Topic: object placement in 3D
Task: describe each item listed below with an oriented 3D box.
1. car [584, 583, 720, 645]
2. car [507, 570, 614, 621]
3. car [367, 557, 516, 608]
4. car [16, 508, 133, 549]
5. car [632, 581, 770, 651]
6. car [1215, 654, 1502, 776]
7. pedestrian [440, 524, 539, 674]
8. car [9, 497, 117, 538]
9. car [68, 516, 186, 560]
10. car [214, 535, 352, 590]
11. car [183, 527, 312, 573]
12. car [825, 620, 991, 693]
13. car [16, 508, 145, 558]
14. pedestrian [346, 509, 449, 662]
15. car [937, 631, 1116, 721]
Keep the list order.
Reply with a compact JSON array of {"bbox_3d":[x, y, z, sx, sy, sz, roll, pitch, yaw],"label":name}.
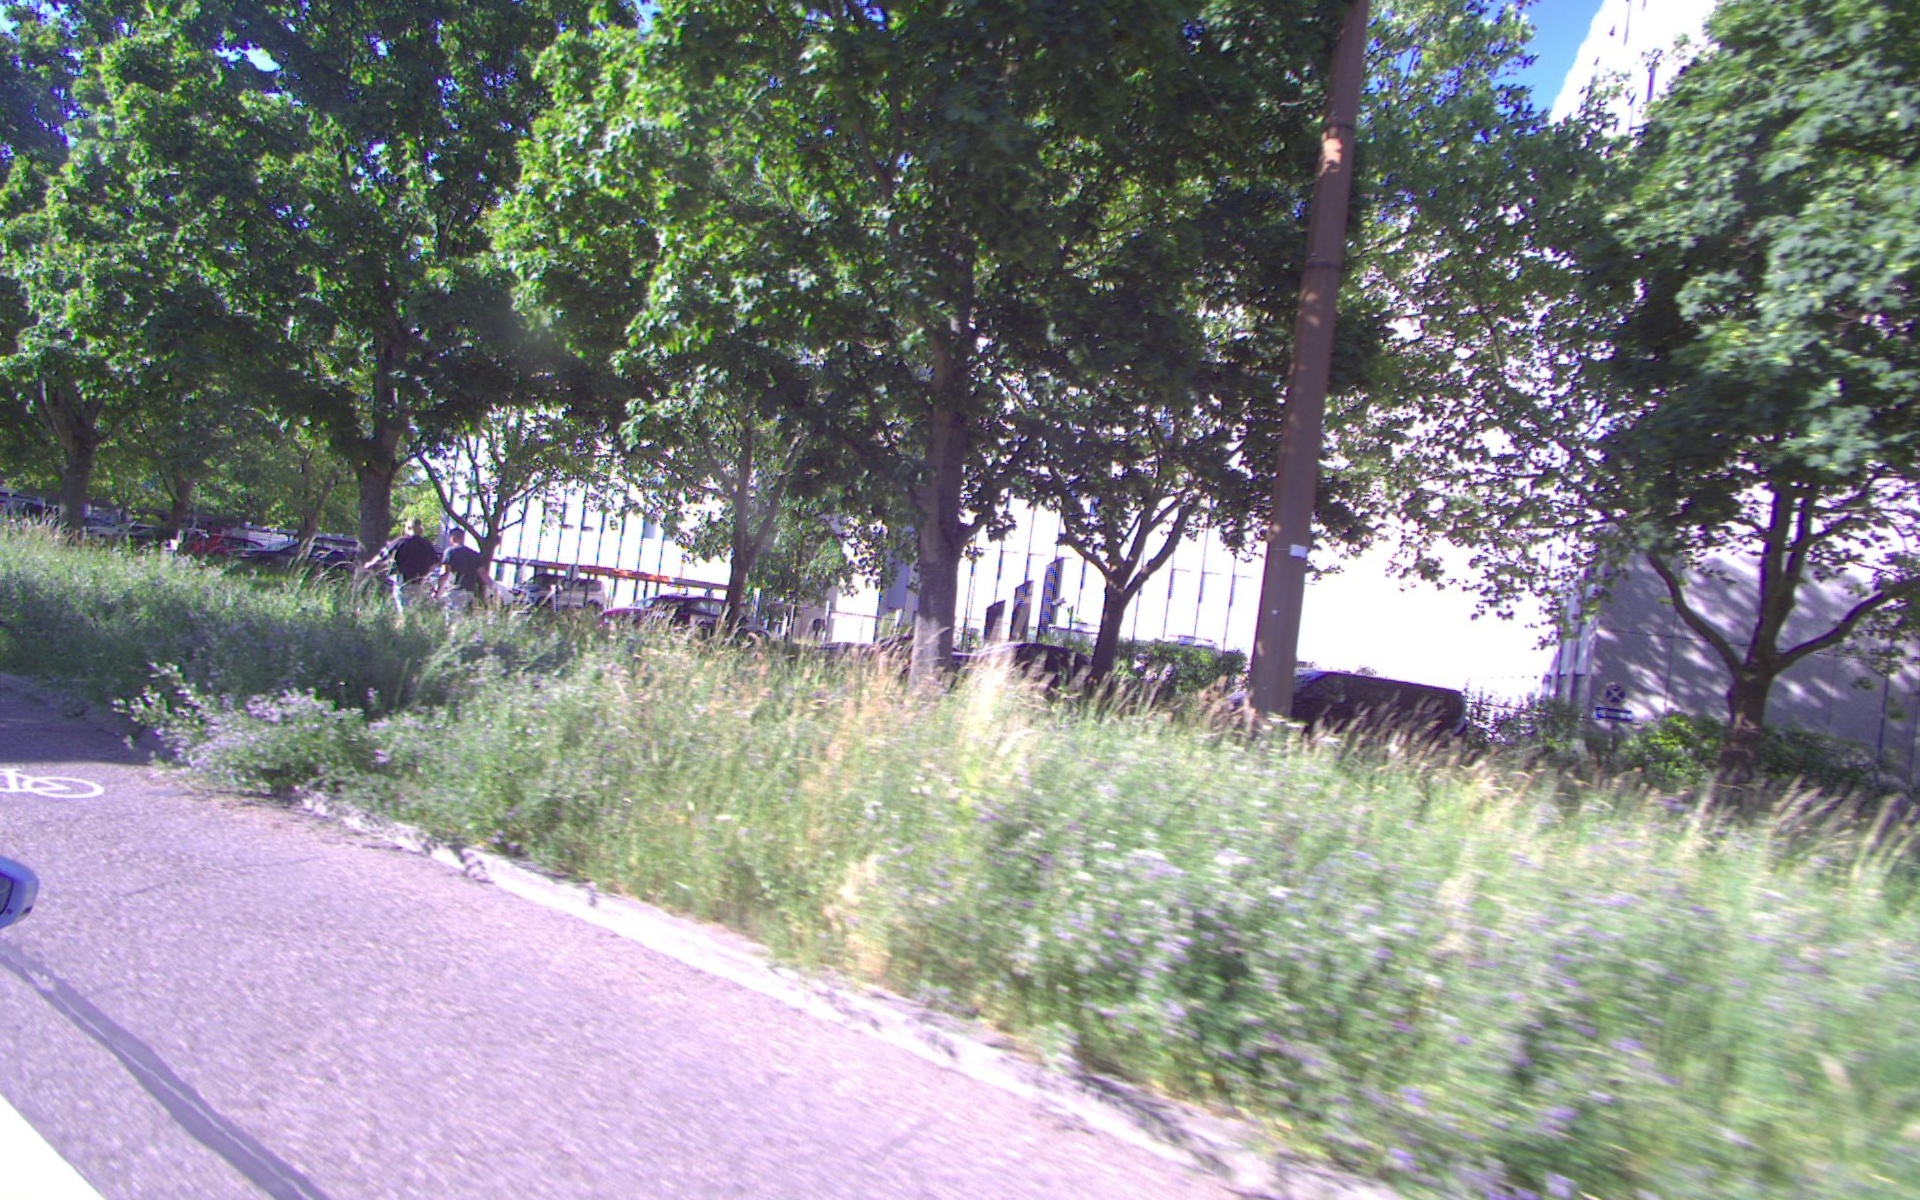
[{"bbox_3d":[-9.614,0.496,31.804,1.733,1.554,4.246,7,-1,21],"label":"car"},{"bbox_3d":[-20.541,-0.207,51.935,1.940,1.973,4.760,7,-1,30],"label":"car"},{"bbox_3d":[-19.314,-0.610,37.680,1.776,1.286,4.709,8,-1,28],"label":"car"},{"bbox_3d":[-47.783,-3.835,54.390,1.661,1.475,4.363,6,-2,33],"label":"car"},{"bbox_3d":[-7.821,0.557,30.800,1.733,1.720,4.350,7,-1,21],"label":"car"},{"bbox_3d":[8.407,2.416,21.352,5.369,1.771,1.916,8,-2,-12],"label":"car"},{"bbox_3d":[-6.542,-0.009,14.005,0.803,1.952,0.709,7,-2,32],"label":"pedestrian"},{"bbox_3d":[-49.489,-4.542,55.586,1.709,1.522,4.039,7,-2,31],"label":"car"},{"bbox_3d":[-42.250,-3.128,51.136,1.795,1.448,4.173,6,-3,33],"label":"car"},{"bbox_3d":[-28.523,-1.558,42.538,1.851,1.615,4.405,7,-2,27],"label":"car"},{"bbox_3d":[-32.333,-2.254,45.751,1.909,1.340,4.297,8,-1,35],"label":"car"},{"bbox_3d":[-1.375,1.498,26.561,3.936,1.356,1.701,9,-2,-22],"label":"car"},{"bbox_3d":[-40.121,-3.030,45.983,1.676,1.543,4.006,7,-2,27],"label":"car"},{"bbox_3d":[-7.659,-0.193,13.709,0.803,1.940,0.709,7,-2,32],"label":"pedestrian"},{"bbox_3d":[1.641,1.867,24.901,3.933,1.657,1.717,9,-2,-20],"label":"car"}]
